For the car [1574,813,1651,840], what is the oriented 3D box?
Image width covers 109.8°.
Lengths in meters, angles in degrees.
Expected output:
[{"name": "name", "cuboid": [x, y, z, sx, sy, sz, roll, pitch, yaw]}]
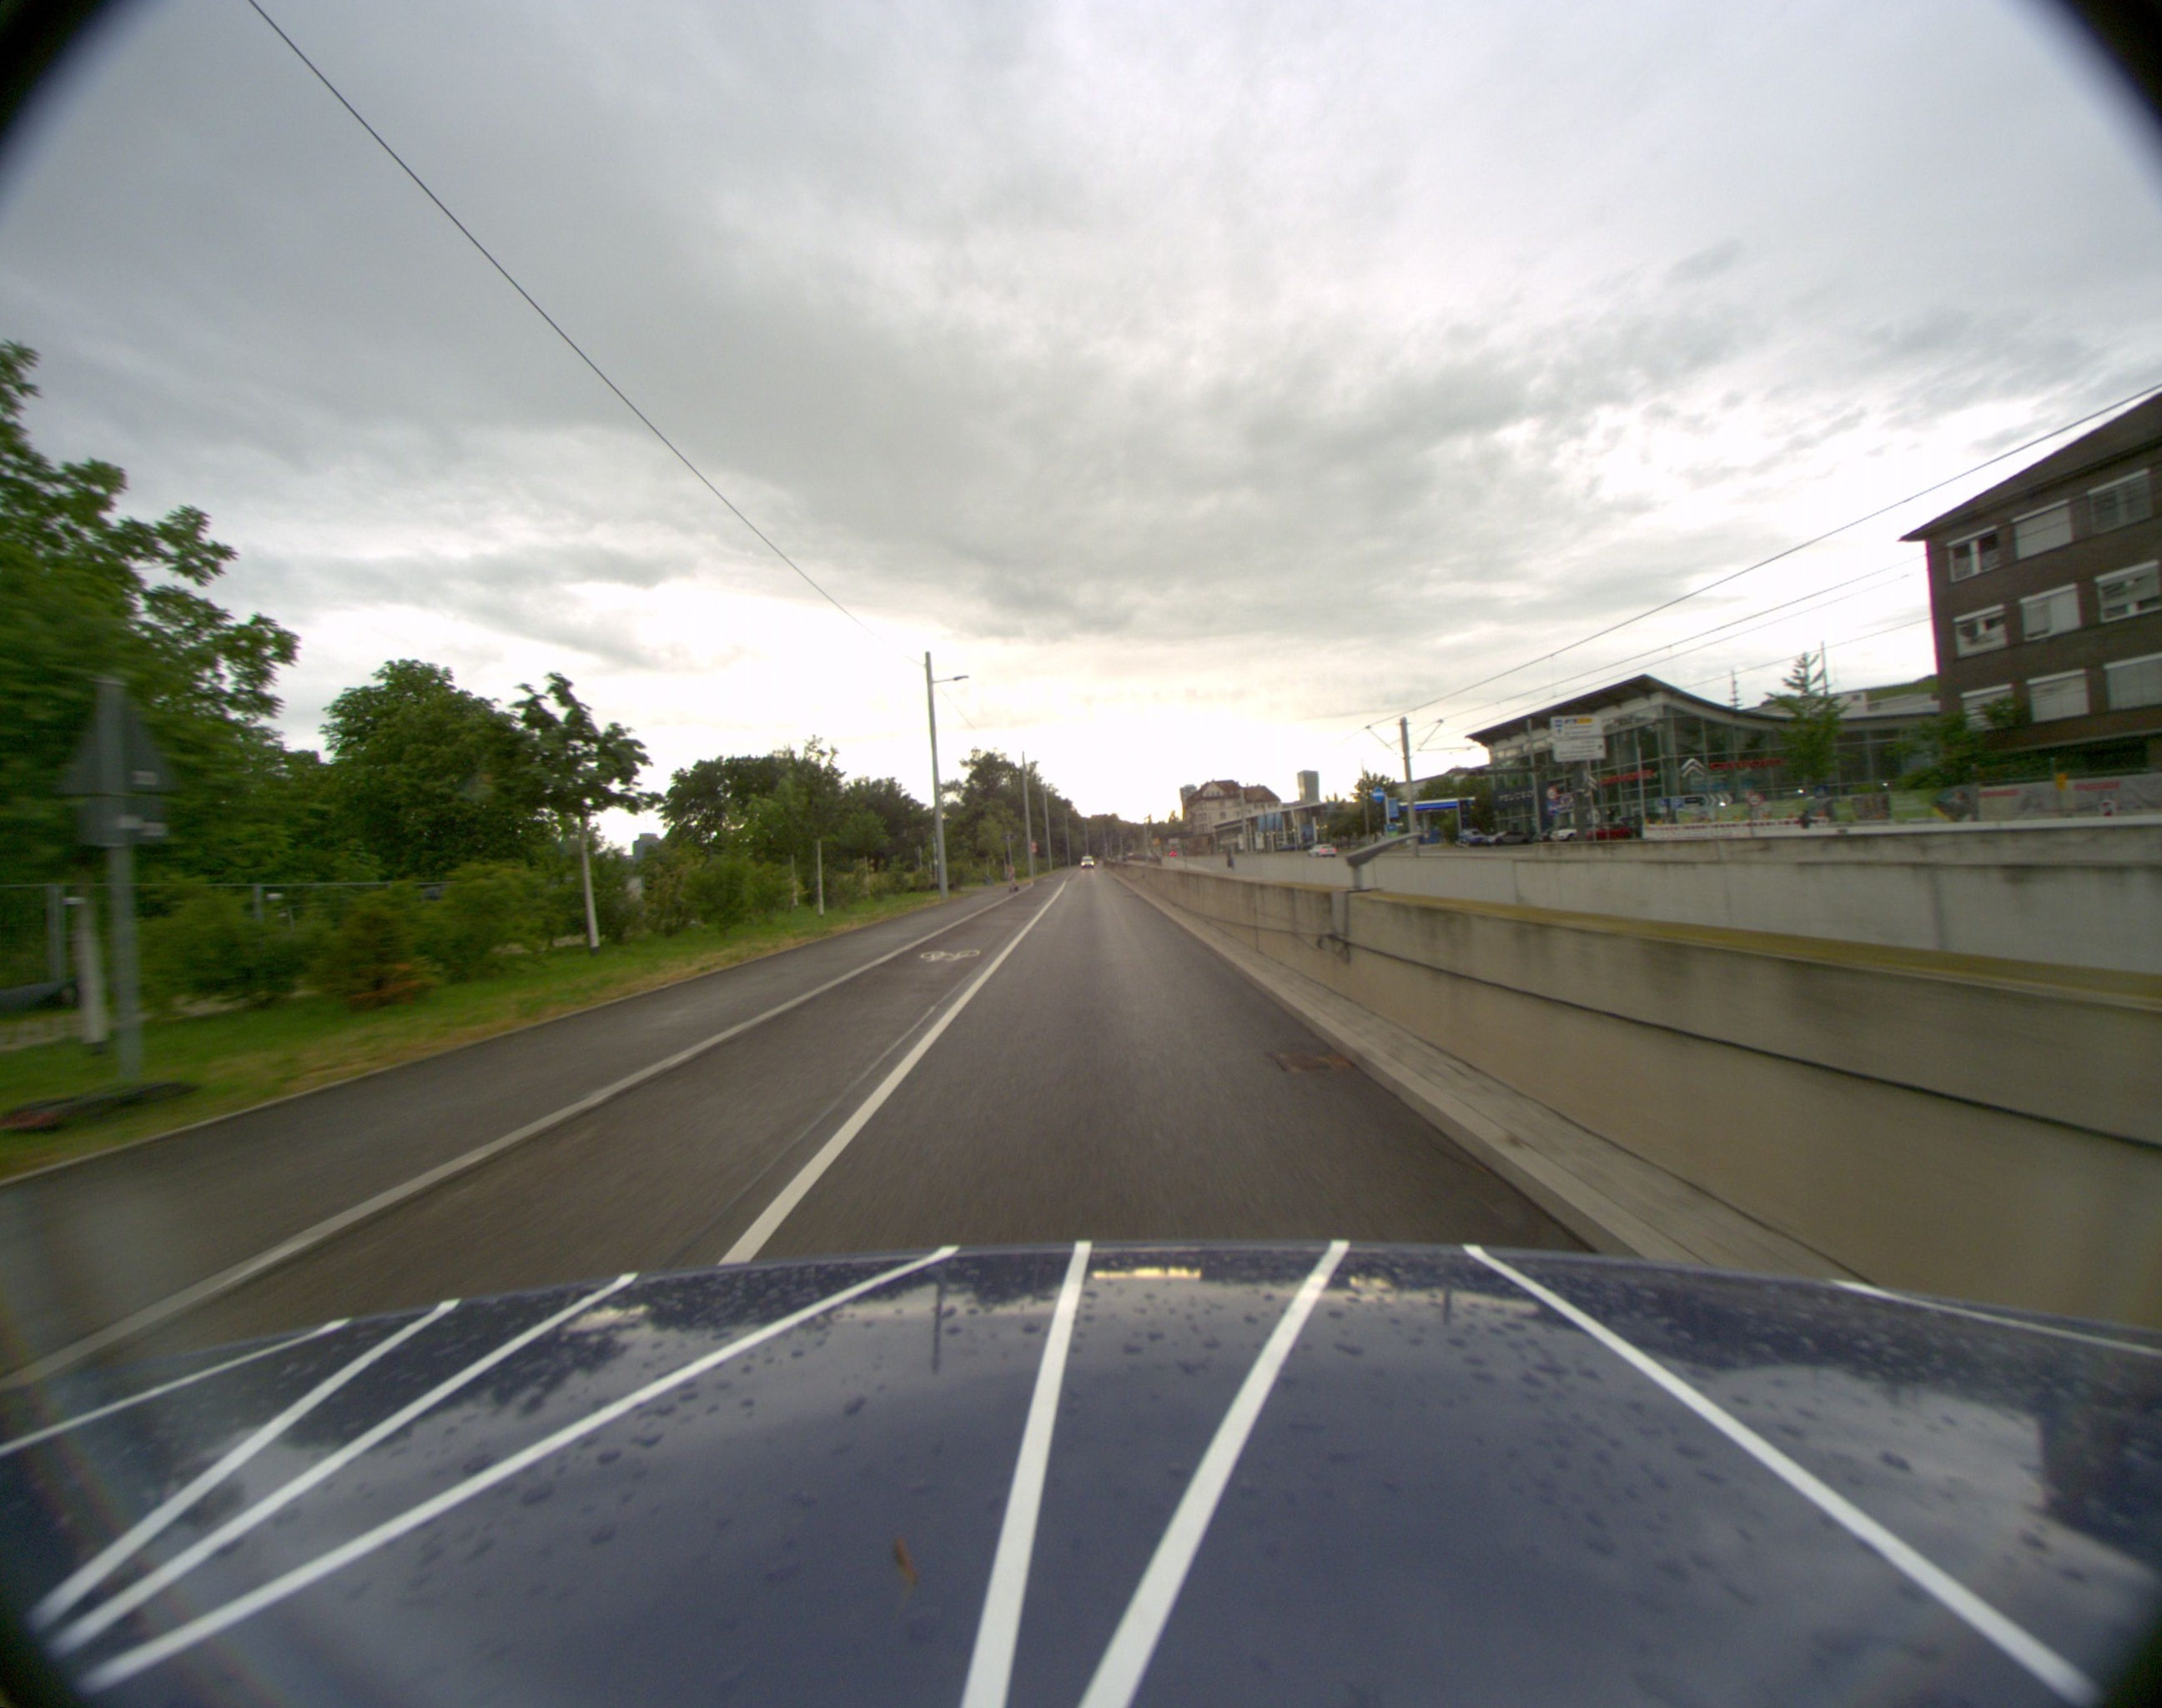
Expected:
[{"name": "car", "cuboid": [41.718, -2.153, 59.701, 4.577, 1.750, 2.000, -4, 0, 0]}]

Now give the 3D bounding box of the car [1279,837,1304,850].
[{"name": "car", "cuboid": [39.474, -1.951, 142.334, 3.996, 2.002, 2.000, -4, 0, 2]}]

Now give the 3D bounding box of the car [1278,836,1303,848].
[{"name": "car", "cuboid": [39.882, -2.283, 144.693, 3.996, 2.002, 2.000, -4, 0, 2]}]

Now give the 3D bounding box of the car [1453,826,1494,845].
[{"name": "car", "cuboid": [39.861, -1.840, 77.312, 1.999, 1.761, 3.999, -4, 0, -1]}]

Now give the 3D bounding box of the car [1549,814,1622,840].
[{"name": "car", "cuboid": [41.235, -2.227, 62.125, 4.577, 1.750, 2.000, -4, 0, 0]}]

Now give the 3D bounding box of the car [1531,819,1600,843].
[{"name": "car", "cuboid": [41.206, -1.938, 64.685, 4.577, 1.750, 2.000, -4, 0, 0]}]

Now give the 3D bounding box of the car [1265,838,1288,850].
[{"name": "car", "cuboid": [38.001, -2.006, 147.619, 3.996, 2.002, 2.000, -4, 0, 2]}]

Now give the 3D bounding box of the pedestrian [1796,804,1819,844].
[{"name": "pedestrian", "cuboid": [37.451, -1.545, 39.186, 0.581, 2.002, 0.728, -3, 1, -37]}]

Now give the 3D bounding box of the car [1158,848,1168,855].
[{"name": "car", "cuboid": [25.094, -0.812, 232.511, 2.271, 2.002, 4.000, -4, 0, 0]}]

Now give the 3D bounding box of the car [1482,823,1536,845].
[{"name": "car", "cuboid": [40.818, -1.883, 72.533, 3.997, 1.761, 2.000, -4, 0, 0]}]

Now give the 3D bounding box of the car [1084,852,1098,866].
[{"name": "car", "cuboid": [1.492, 0.794, 113.946, 1.998, 2.002, 4.000, -3, 0, 0]}]

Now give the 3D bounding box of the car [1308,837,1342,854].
[{"name": "car", "cuboid": [26.797, -0.918, 83.666, 2.119, 1.706, 4.579, -4, 0, -2]}]
